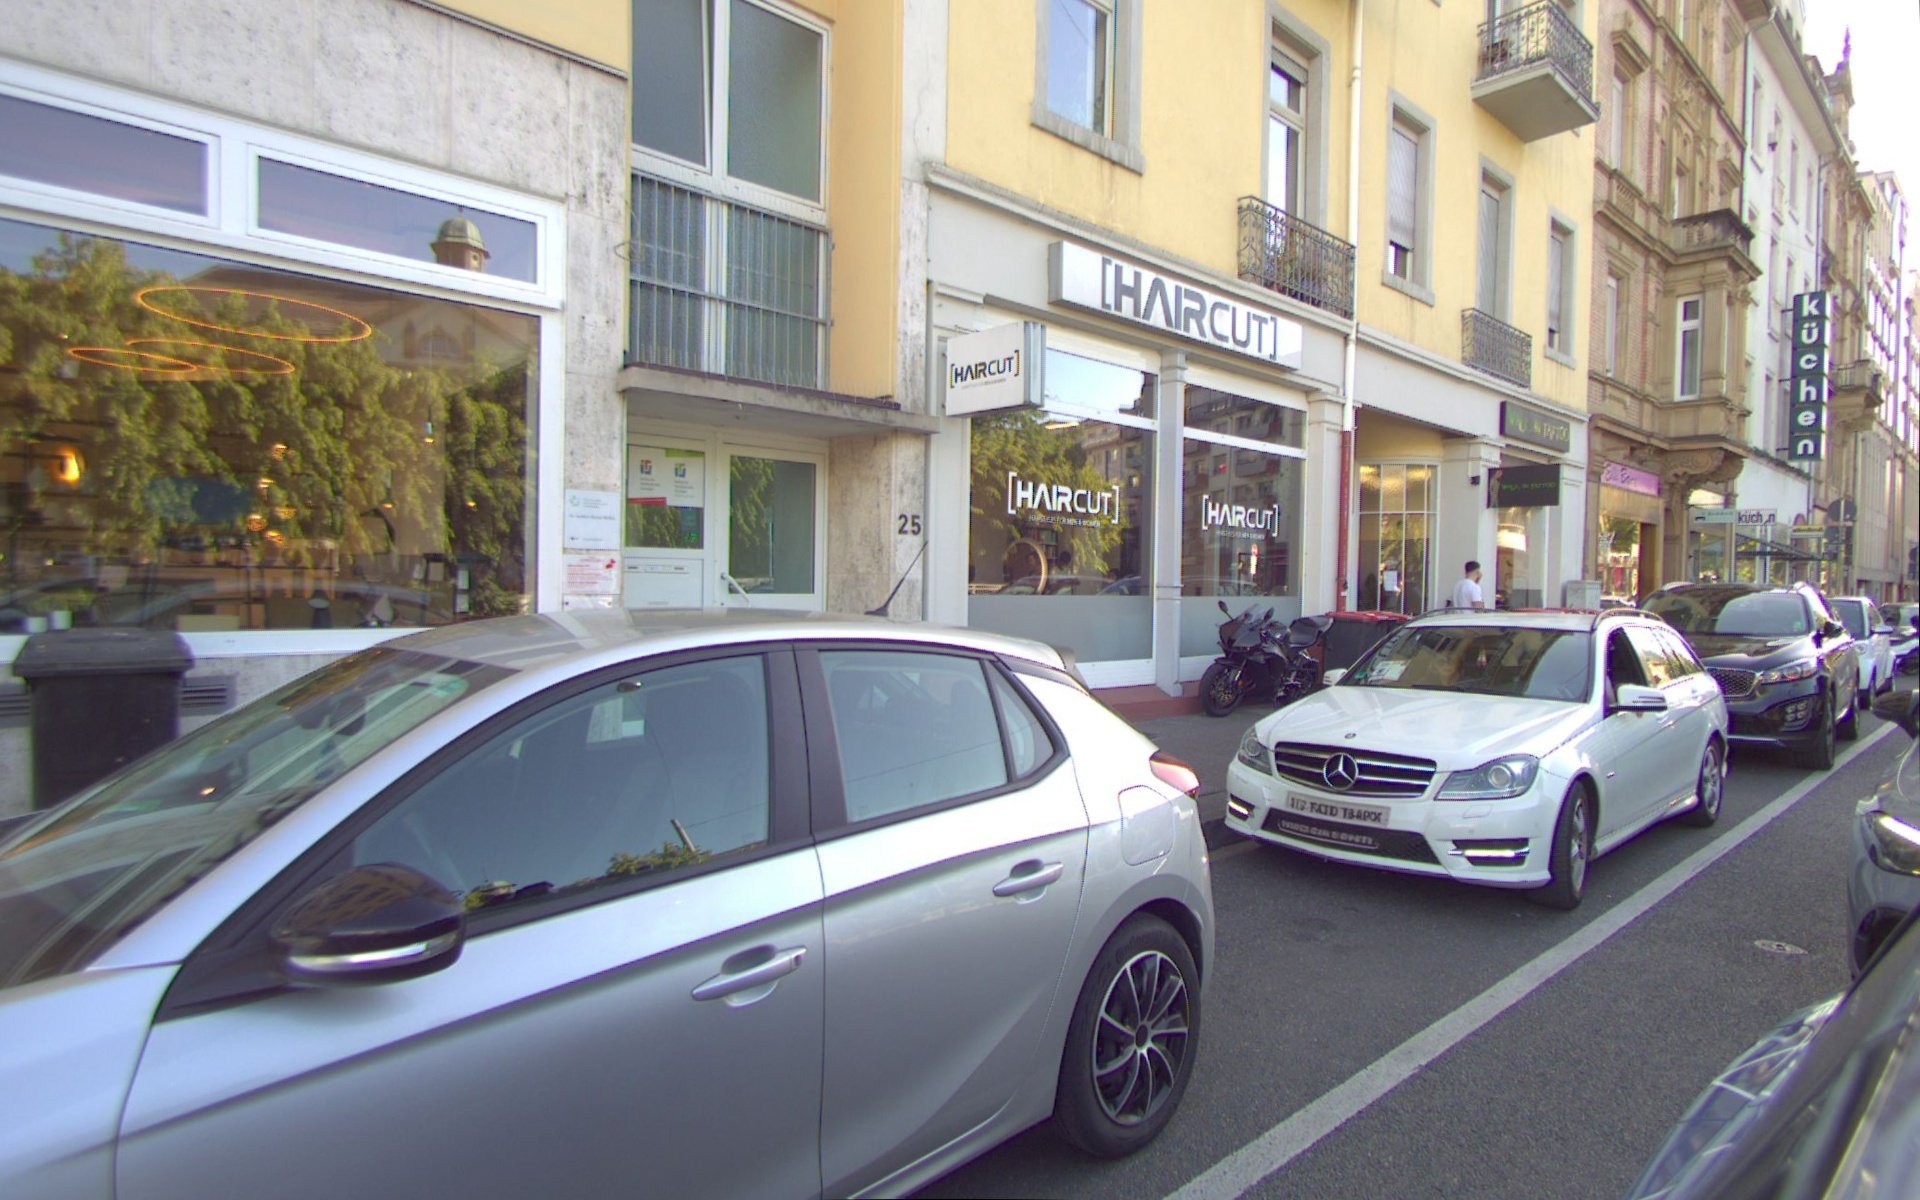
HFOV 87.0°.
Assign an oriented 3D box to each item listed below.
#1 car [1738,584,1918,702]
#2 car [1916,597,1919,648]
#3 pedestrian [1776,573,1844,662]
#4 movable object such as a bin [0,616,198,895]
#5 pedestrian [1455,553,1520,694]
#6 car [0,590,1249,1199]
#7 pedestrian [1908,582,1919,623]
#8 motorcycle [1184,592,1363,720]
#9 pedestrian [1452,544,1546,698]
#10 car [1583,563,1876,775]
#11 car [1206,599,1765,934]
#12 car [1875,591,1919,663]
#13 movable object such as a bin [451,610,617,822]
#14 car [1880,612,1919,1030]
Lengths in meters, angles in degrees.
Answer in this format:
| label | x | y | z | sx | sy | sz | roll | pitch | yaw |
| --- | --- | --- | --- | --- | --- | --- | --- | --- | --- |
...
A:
| label | x | y | z | sx | sy | sz | roll | pitch | yaw |
| --- | --- | --- | --- | --- | --- | --- | --- | --- | --- |
| car | 12.764 | 0.547 | 14.845 | 2.945 | 1.542 | 1.582 | -1 | 0 | -41 |
| car | 26.603 | 0.574 | 26.920 | 3.306 | 1.334 | 1.459 | -1 | 0 | -42 |
| pedestrian | 17.142 | 0.335 | 20.421 | 0.810 | 1.741 | 0.831 | 0 | 0 | 22 |
| movable object such as a bin | -3.681 | 0.600 | 4.316 | 0.639 | 1.036 | 0.737 | 0 | 0 | -41 |
| pedestrian | 7.233 | 0.301 | 13.867 | 0.627 | 1.859 | 0.760 | 0 | 0 | 41 |
| car | -1.013 | 0.715 | 2.300 | 3.625 | 1.455 | 1.585 | -1 | 0 | -43 |
| pedestrian | 42.577 | 0.104 | 44.801 | 0.809 | 1.782 | 0.825 | 0 | 0 | -42 |
| motorcycle | 3.285 | 0.522 | 10.508 | 2.073 | 1.144 | 0.735 | -1 | 5 | -41 |
| pedestrian | 6.852 | 0.254 | 12.905 | 0.961 | 1.900 | 0.532 | 0 | 0 | 18 |
| car | 8.003 | 0.531 | 10.359 | 4.338 | 1.711 | 1.802 | -1 | 0 | -45 |
| car | 3.526 | 0.709 | 6.380 | 4.301 | 1.389 | 1.671 | -1 | 0 | -41 |
| car | 21.891 | 0.566 | 22.802 | 3.736 | 1.509 | 1.691 | -1 | 0 | -45 |
| movable object such as a bin | -2.334 | 0.581 | 5.530 | 0.639 | 1.036 | 0.737 | 0 | 0 | -41 |
| car | 5.391 | 0.750 | 4.369 | 4.397 | 1.385 | 1.767 | -1 | 1 | -43 |
